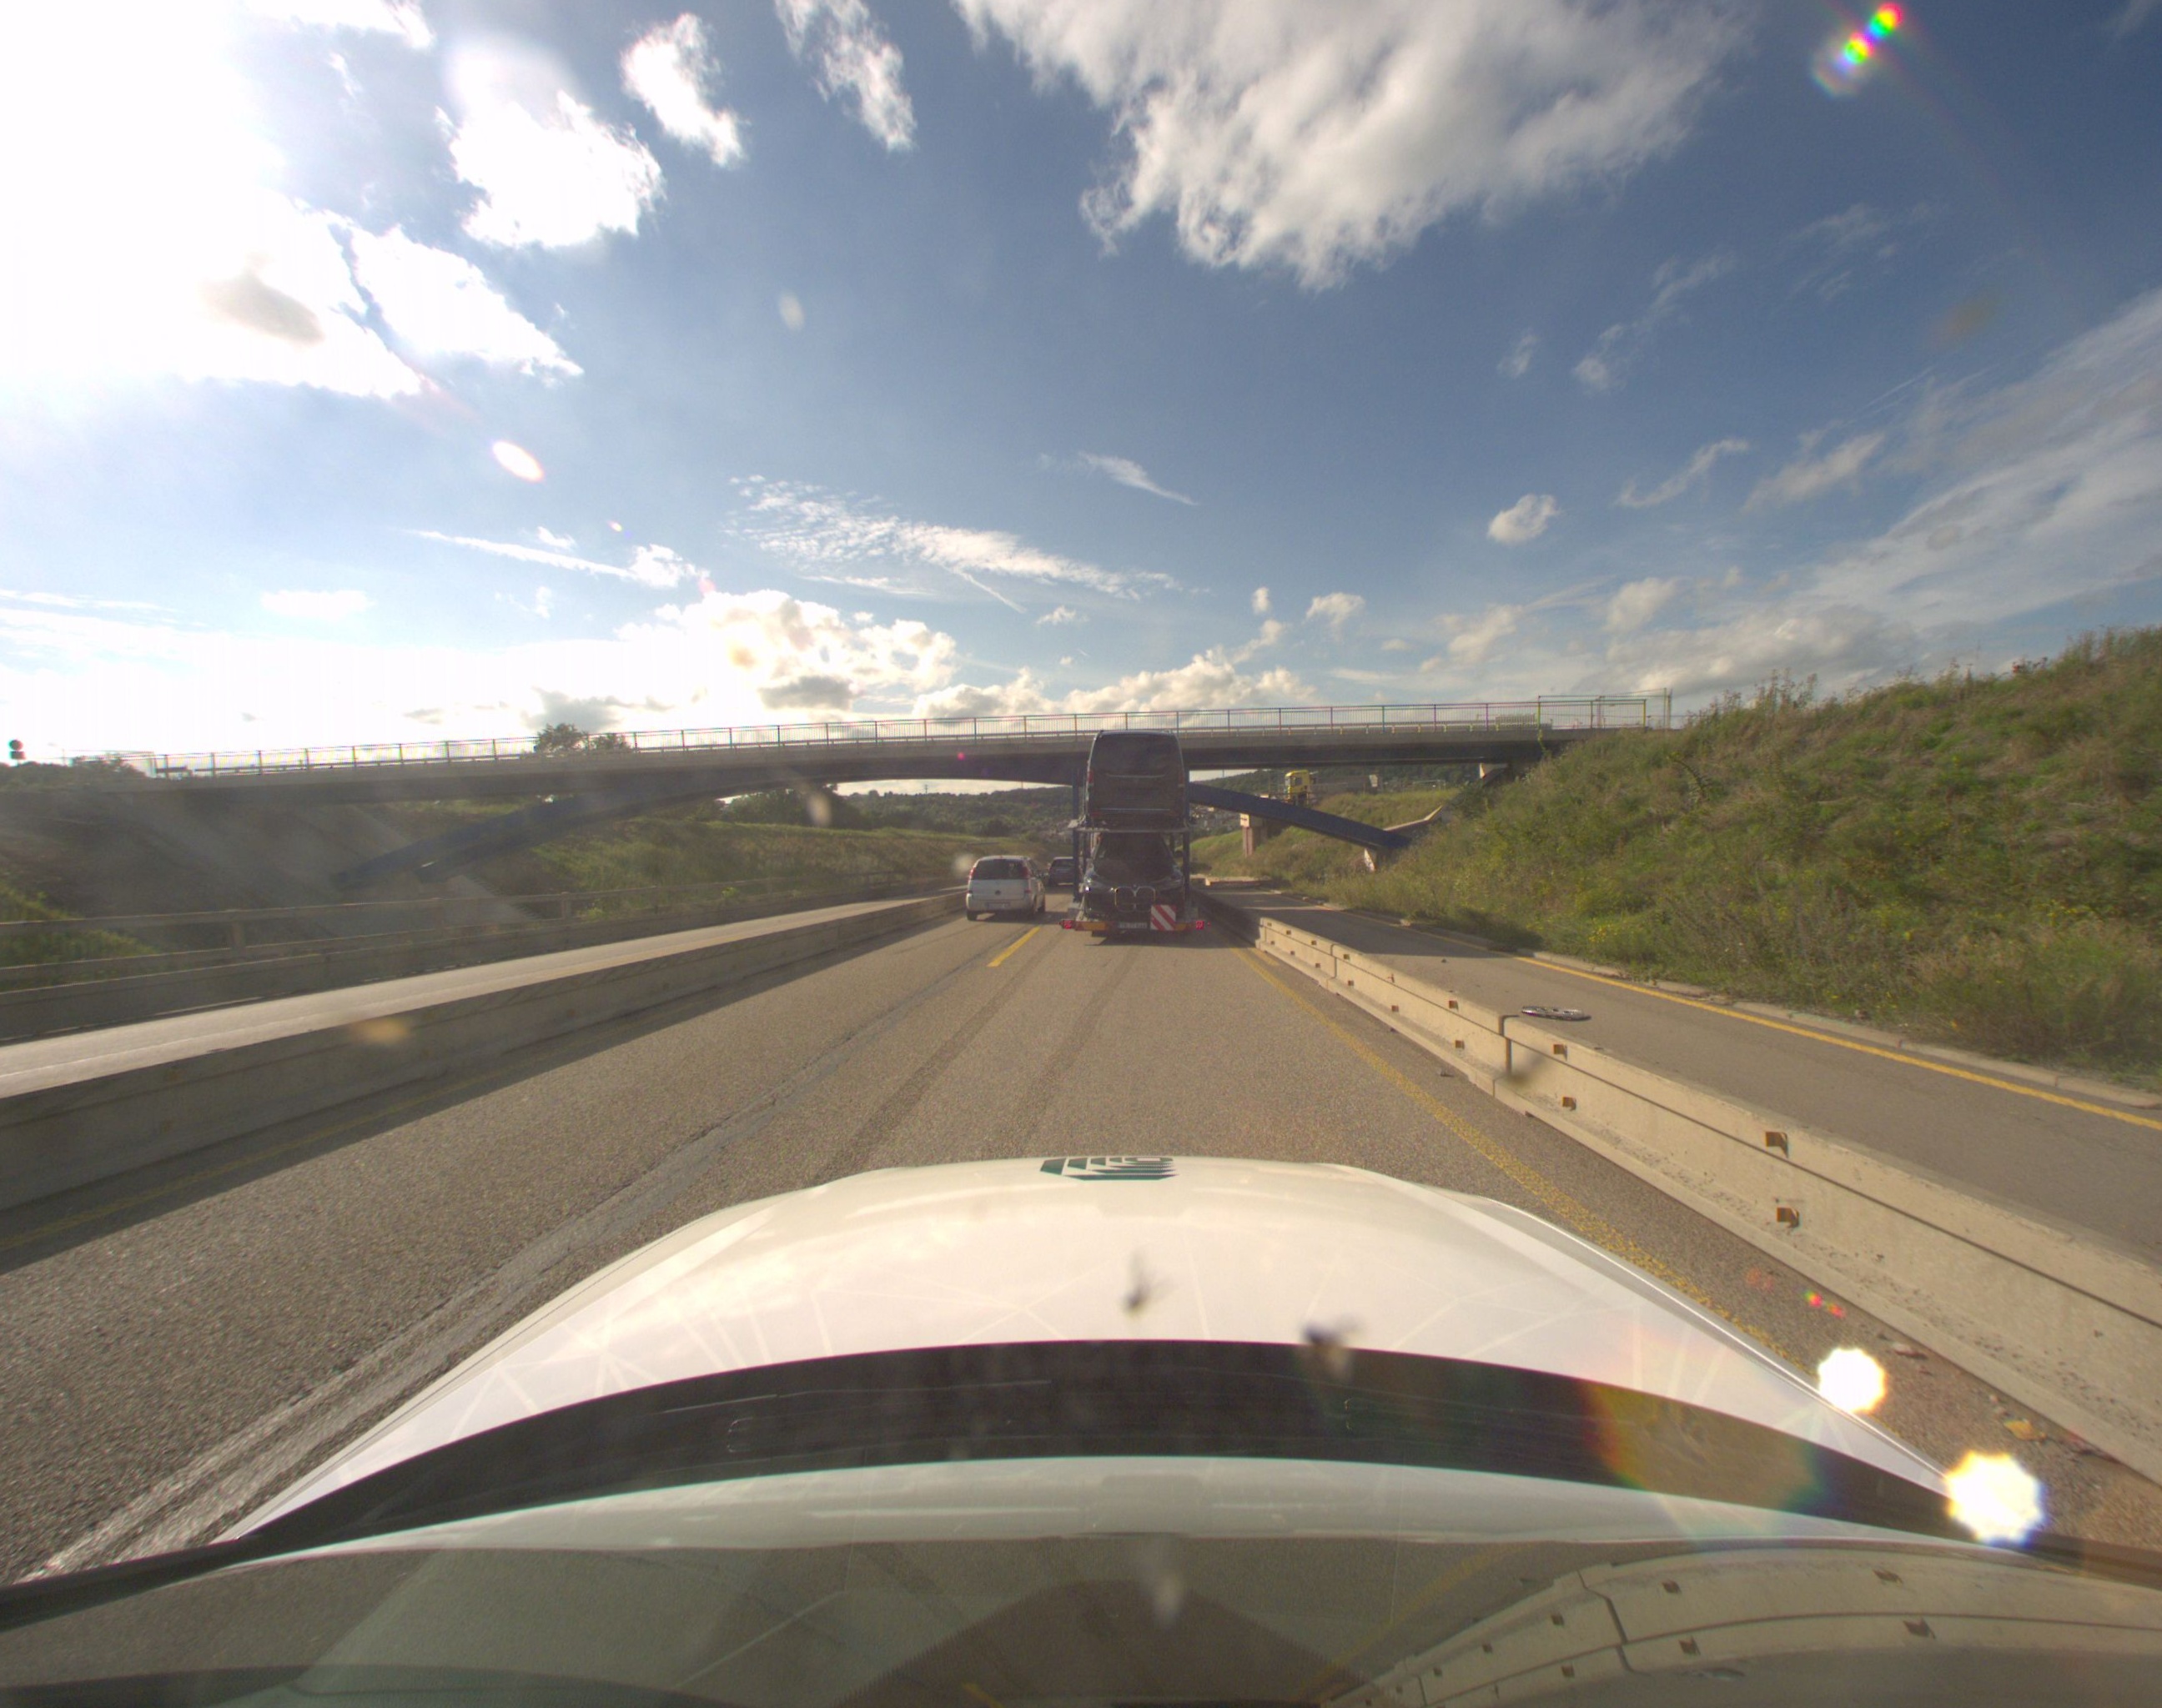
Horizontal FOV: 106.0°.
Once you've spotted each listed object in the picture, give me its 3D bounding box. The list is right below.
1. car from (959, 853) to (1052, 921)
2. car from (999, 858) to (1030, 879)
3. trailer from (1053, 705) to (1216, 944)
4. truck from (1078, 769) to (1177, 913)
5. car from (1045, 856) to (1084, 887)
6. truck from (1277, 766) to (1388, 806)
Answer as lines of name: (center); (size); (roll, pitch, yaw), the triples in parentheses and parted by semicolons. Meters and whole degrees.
car: (-1.878, 0.790, 21.742); (1.789, 1.596, 4.746); (-1, 0, 3)
car: (-5.327, 1.169, 65.751); (1.816, 1.492, 4.221); (-4, 0, 3)
trailer: (1.169, -0.468, 19.585); (2.697, 4.029, 11.426); (-1, 0, 3)
truck: (1.436, -0.336, 25.466); (2.667, 3.922, 6.032); (-1, -1, 3)
car: (-0.850, 0.926, 44.205); (1.789, 1.530, 4.298); (-1, 0, 3)
truck: (23.021, -6.188, 74.910); (9.224, 3.228, 2.962); (-1, 0, 3)
